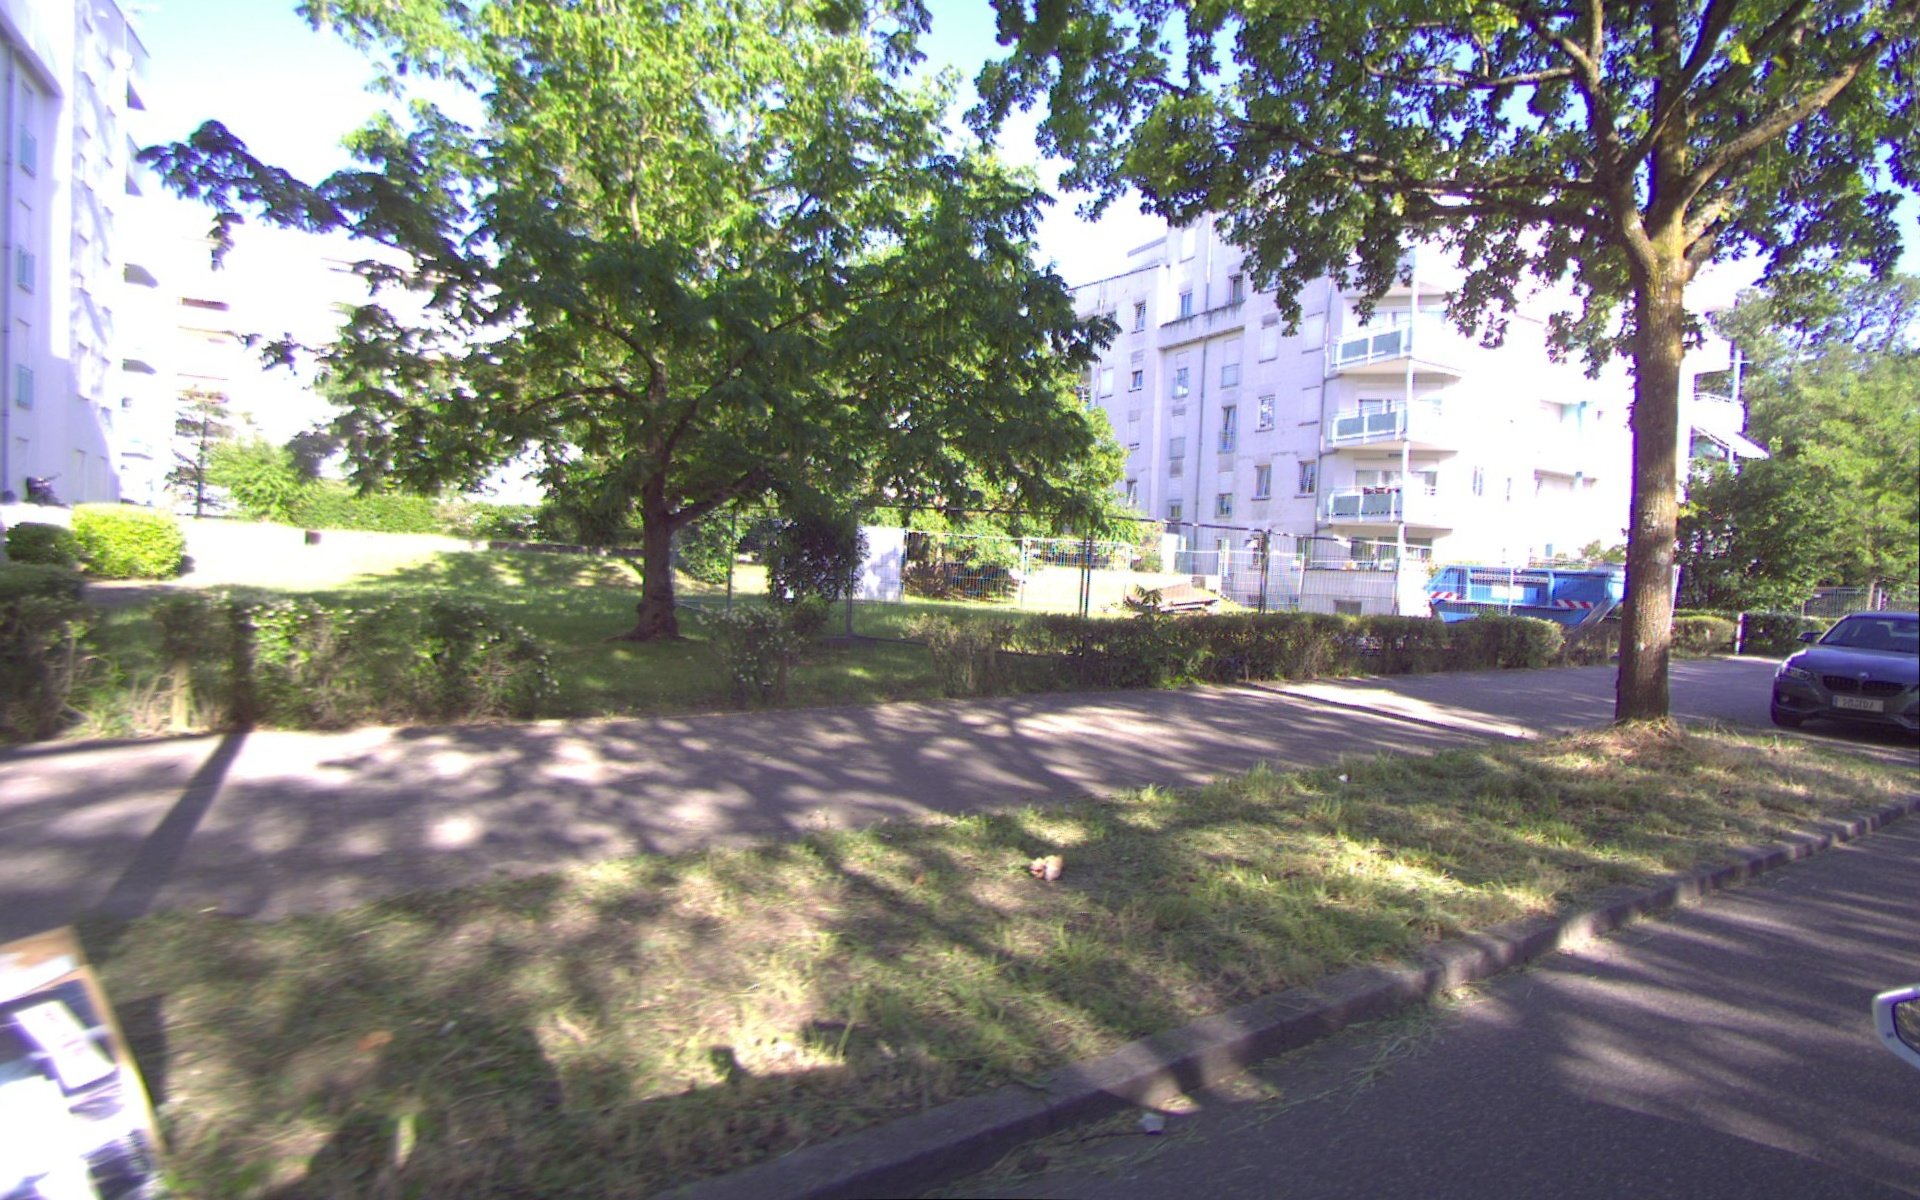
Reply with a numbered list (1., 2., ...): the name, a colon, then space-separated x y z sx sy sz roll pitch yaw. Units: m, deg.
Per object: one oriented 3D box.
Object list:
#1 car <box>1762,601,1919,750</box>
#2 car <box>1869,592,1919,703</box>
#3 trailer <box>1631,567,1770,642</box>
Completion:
1. car: 11.386 0.829 12.079 4.100 1.452 1.703 1 4 -38
2. car: 16.543 0.799 16.202 4.177 1.643 1.764 1 4 -34
3. trailer: 23.432 0.141 31.761 4.295 2.149 1.854 1 4 -30
